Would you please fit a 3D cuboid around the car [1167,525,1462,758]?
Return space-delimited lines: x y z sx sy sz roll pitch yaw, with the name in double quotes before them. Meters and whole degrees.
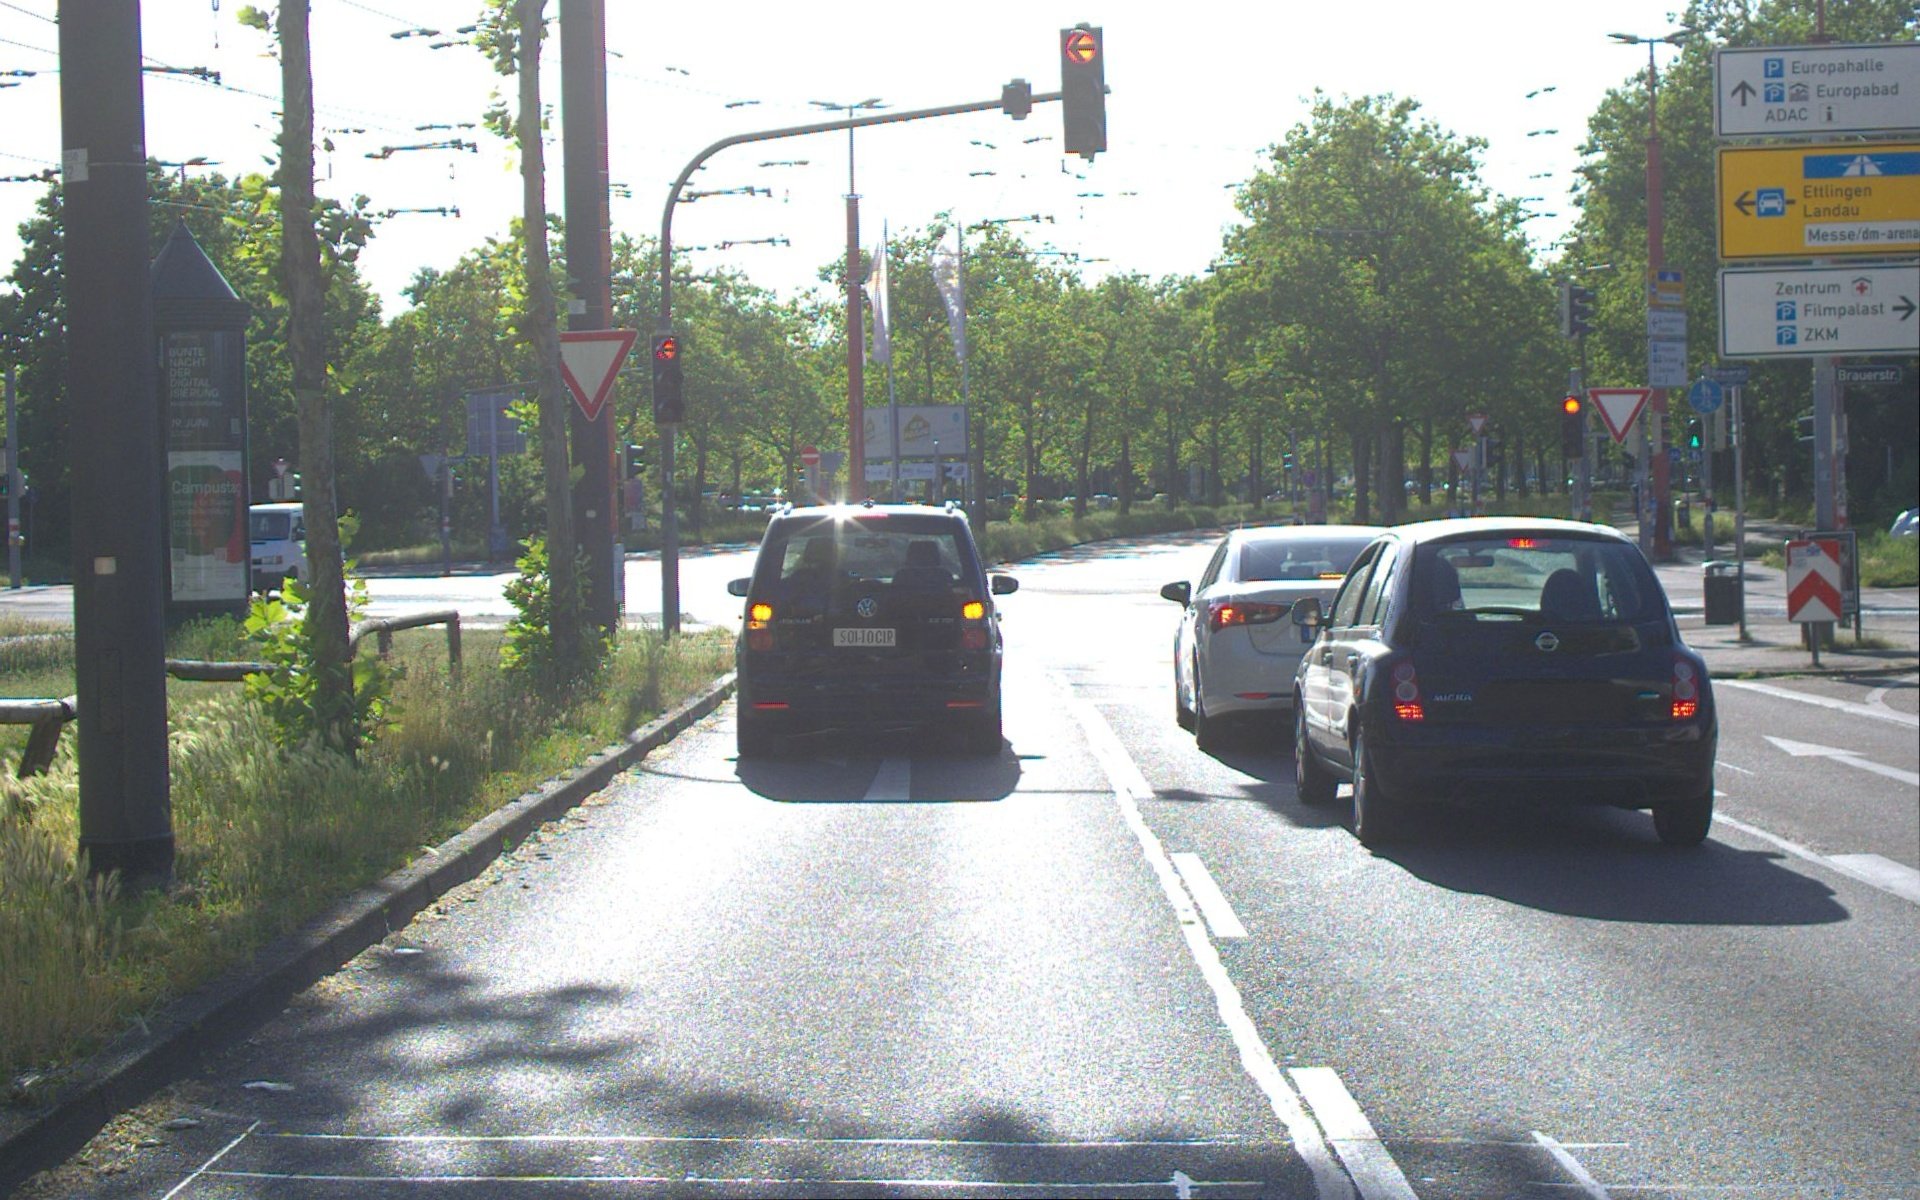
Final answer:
"car" 2.358 0.229 23.726 1.678 1.470 4.131 0 1 1

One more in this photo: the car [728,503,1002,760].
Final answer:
"car" -0.625 0.169 23.251 1.710 1.598 3.350 1 1 -1

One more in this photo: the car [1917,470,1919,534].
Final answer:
"car" 22.363 -2.067 72.435 3.992 1.333 1.726 0 1 26

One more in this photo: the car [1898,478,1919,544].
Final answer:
"car" 22.873 -1.959 75.737 3.992 1.471 1.787 0 1 26

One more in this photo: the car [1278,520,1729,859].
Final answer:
"car" 2.606 0.363 17.217 1.639 1.489 3.504 0 2 -1

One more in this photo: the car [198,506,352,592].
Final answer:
"car" -14.646 -1.102 73.739 1.823 1.774 4.566 0 1 8
